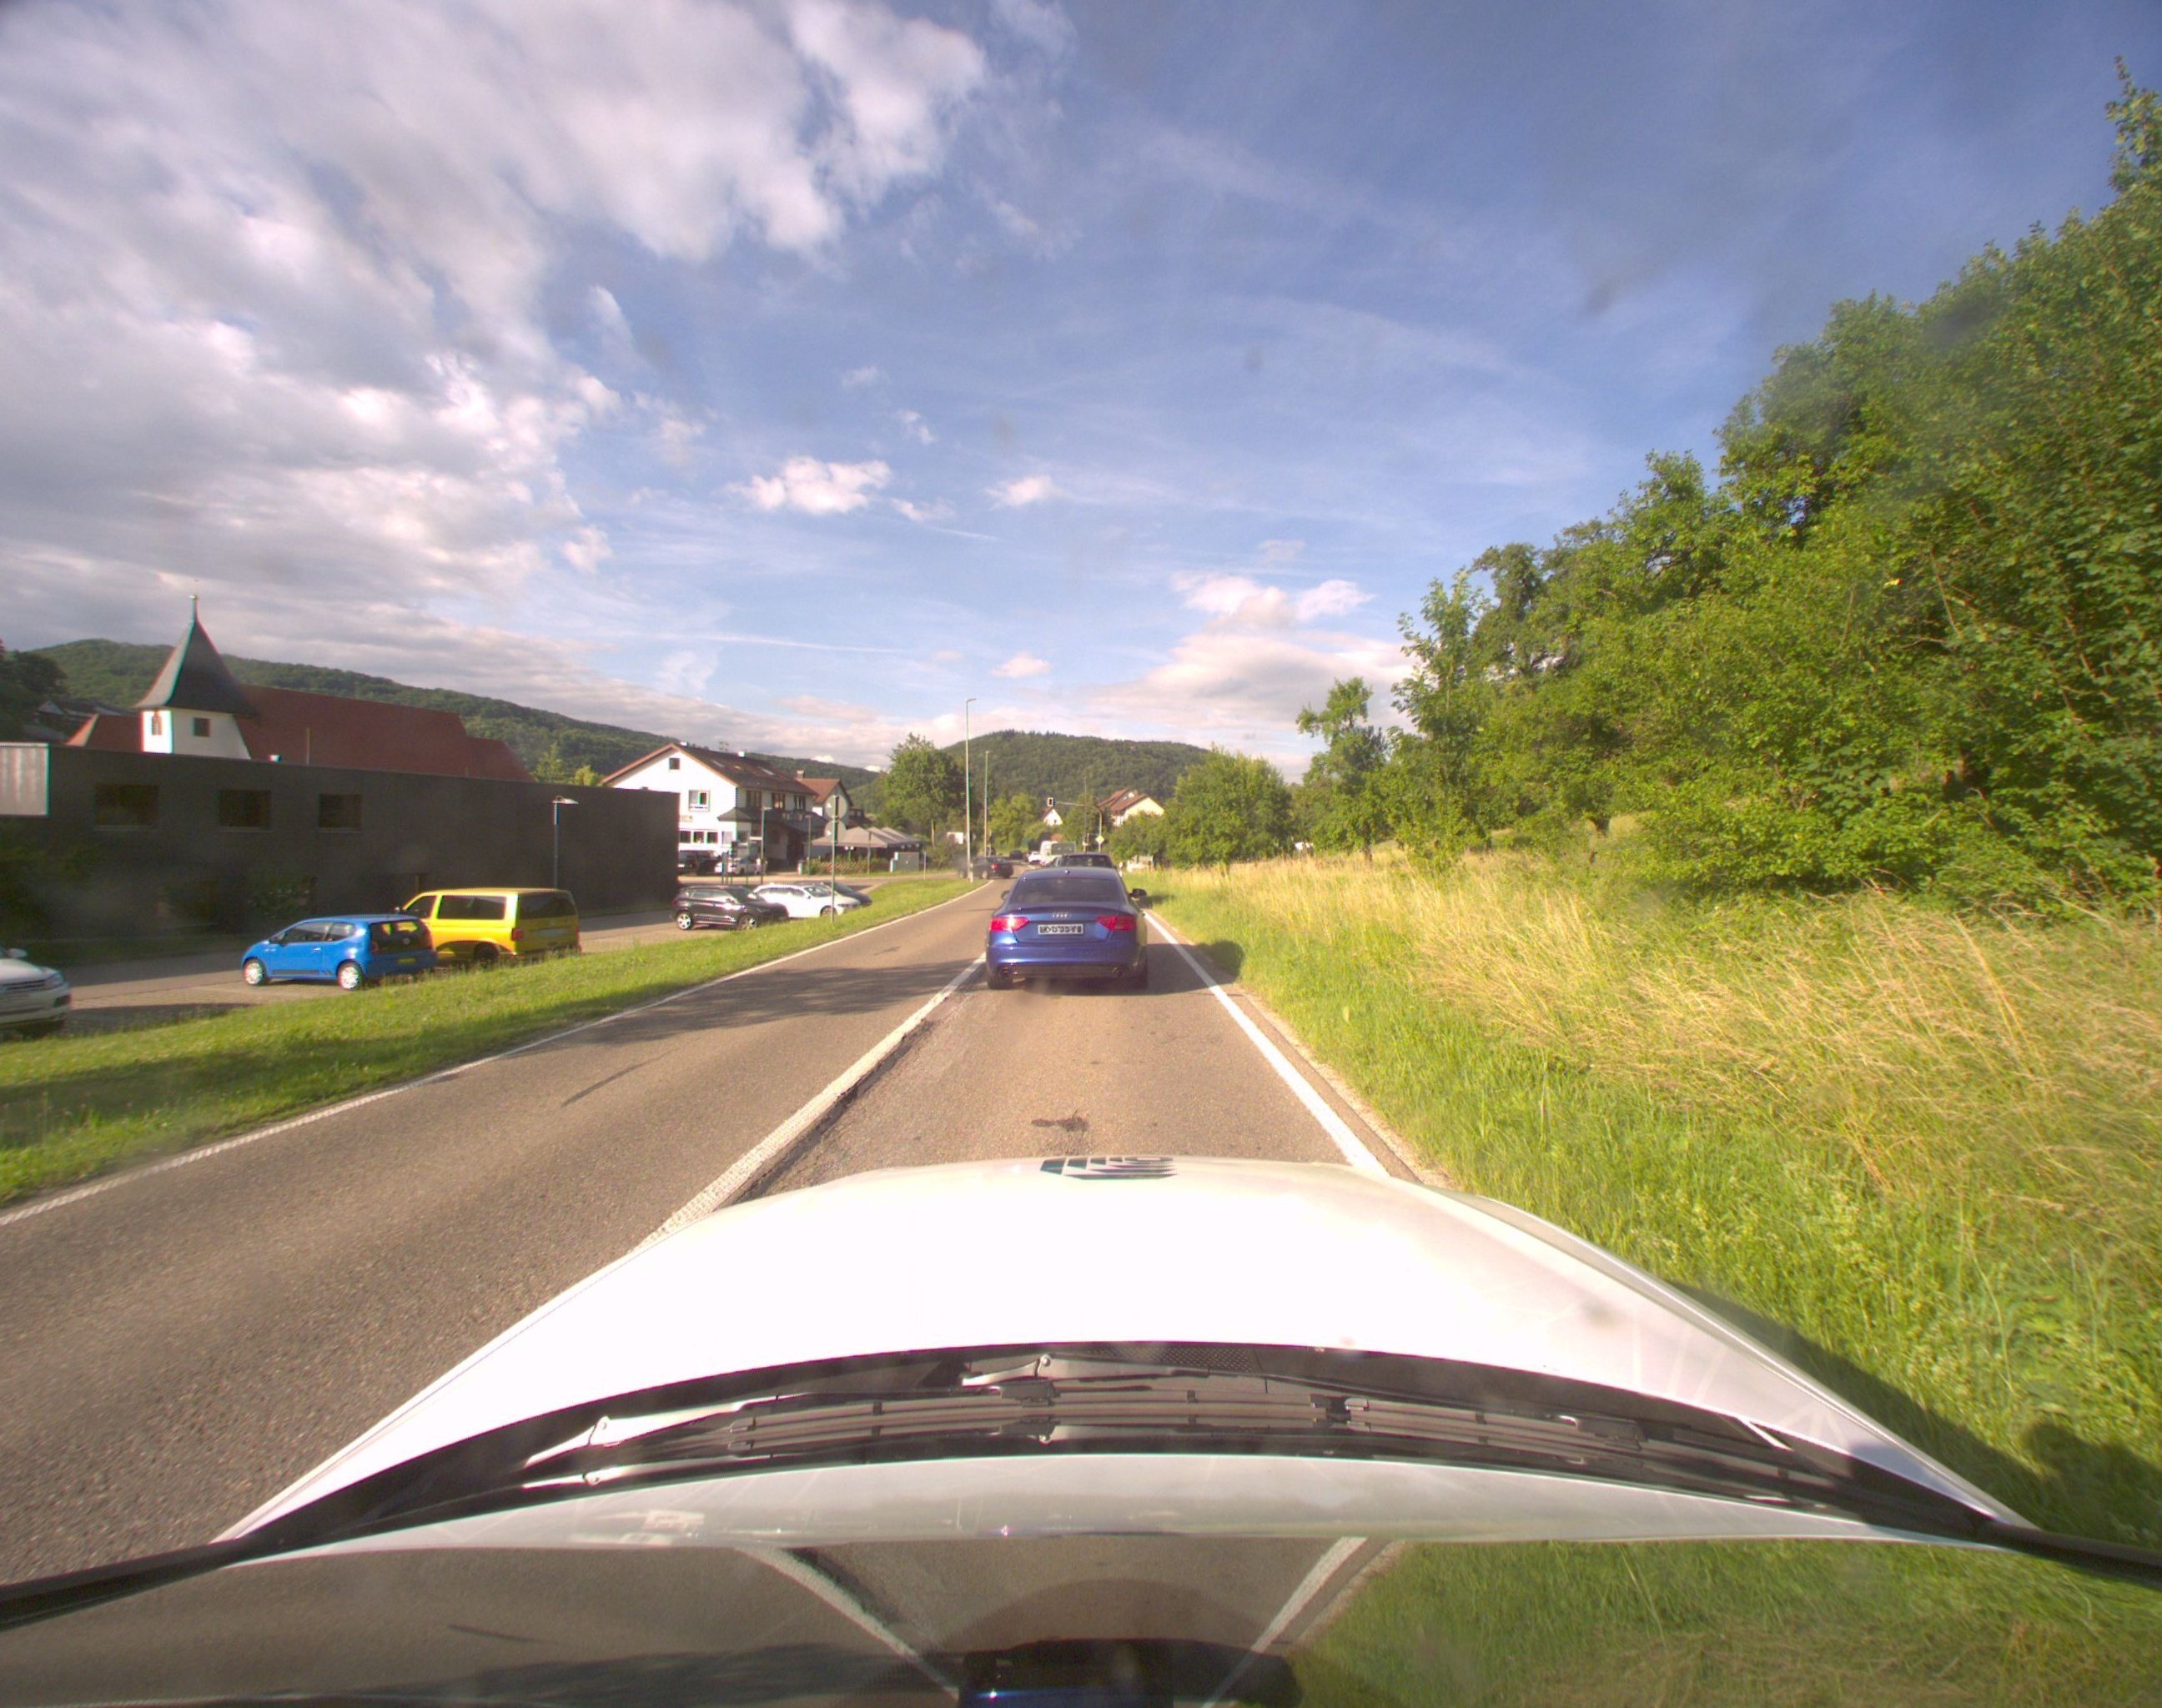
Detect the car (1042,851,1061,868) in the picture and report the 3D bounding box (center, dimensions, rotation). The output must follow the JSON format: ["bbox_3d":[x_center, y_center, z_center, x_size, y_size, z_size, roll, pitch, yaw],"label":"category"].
[{"bbox_3d":[-2.913,0.519,79.392,1.742,1.639,3.995,0,-1,-3],"label":"car"}]

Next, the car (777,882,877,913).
[{"bbox_3d":[-11.559,1.970,37.149,3.964,1.310,1.765,0,-1,8],"label":"car"}]

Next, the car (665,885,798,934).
[{"bbox_3d":[-12.767,1.998,29.854,3.997,1.637,2.007,0,-1,12],"label":"car"}]

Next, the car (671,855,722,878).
[{"bbox_3d":[-28.952,0.927,61.486,1.880,1.662,4.000,0,-1,1],"label":"car"}]

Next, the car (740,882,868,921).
[{"bbox_3d":[-11.622,1.964,34.311,4.781,1.493,1.887,0,-1,12],"label":"car"}]

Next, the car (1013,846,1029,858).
[{"bbox_3d":[-8.099,-0.224,109.327,1.699,1.490,3.512,0,-1,-12],"label":"car"}]

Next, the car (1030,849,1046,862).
[{"bbox_3d":[-5.328,0.186,100.102,1.697,1.490,3.517,0,-1,-8],"label":"car"}]

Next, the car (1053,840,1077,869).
[{"bbox_3d":[-1.311,0.084,64.290,1.742,2.195,3.995,0,-1,-3],"label":"car"}]

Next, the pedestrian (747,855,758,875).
[{"bbox_3d":[-24.823,0.861,61.531,0.606,1.503,0.590,0,-1,1],"label":"pedestrian"}]

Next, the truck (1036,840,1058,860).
[{"bbox_3d":[-3.591,-0.368,84.725,1.696,1.953,5.905,0,-1,-8],"label":"truck"}]

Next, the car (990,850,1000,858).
[{"bbox_3d":[-16.189,-0.007,153.053,1.625,1.576,3.668,0,-1,-9],"label":"car"}]

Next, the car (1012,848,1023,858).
[{"bbox_3d":[-9.831,-0.159,125.532,1.695,1.490,3.519,0,-1,-6],"label":"car"}]

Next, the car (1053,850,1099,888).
[{"bbox_3d":[-0.161,0.686,38.050,1.796,1.639,4.468,0,-1,4],"label":"car"}]

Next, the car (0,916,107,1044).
[{"bbox_3d":[-17.443,1.841,12.043,4.508,1.703,2.007,0,-1,12],"label":"car"}]

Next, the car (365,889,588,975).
[{"bbox_3d":[-14.883,1.847,20.118,4.575,1.868,2.008,0,-1,16],"label":"car"}]

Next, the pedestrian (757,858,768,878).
[{"bbox_3d":[-24.045,1.068,61.473,0.606,1.503,0.590,0,-1,1],"label":"pedestrian"}]

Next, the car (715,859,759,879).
[{"bbox_3d":[-26.148,1.142,61.979,1.550,1.450,4.000,0,-1,1],"label":"car"}]

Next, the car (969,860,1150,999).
[{"bbox_3d":[-0.059,0.798,10.285,1.786,1.388,4.006,-1,-1,5],"label":"car"}]

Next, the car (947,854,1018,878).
[{"bbox_3d":[-6.132,0.758,50.850,3.953,1.442,1.930,0,-1,21],"label":"car"}]

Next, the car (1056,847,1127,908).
[{"bbox_3d":[0.393,0.662,23.996,1.737,1.639,4.006,0,-1,5],"label":"car"}]

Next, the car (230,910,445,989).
[{"bbox_3d":[-16.047,2.019,17.647,3.471,1.472,1.637,0,-1,10],"label":"car"}]
